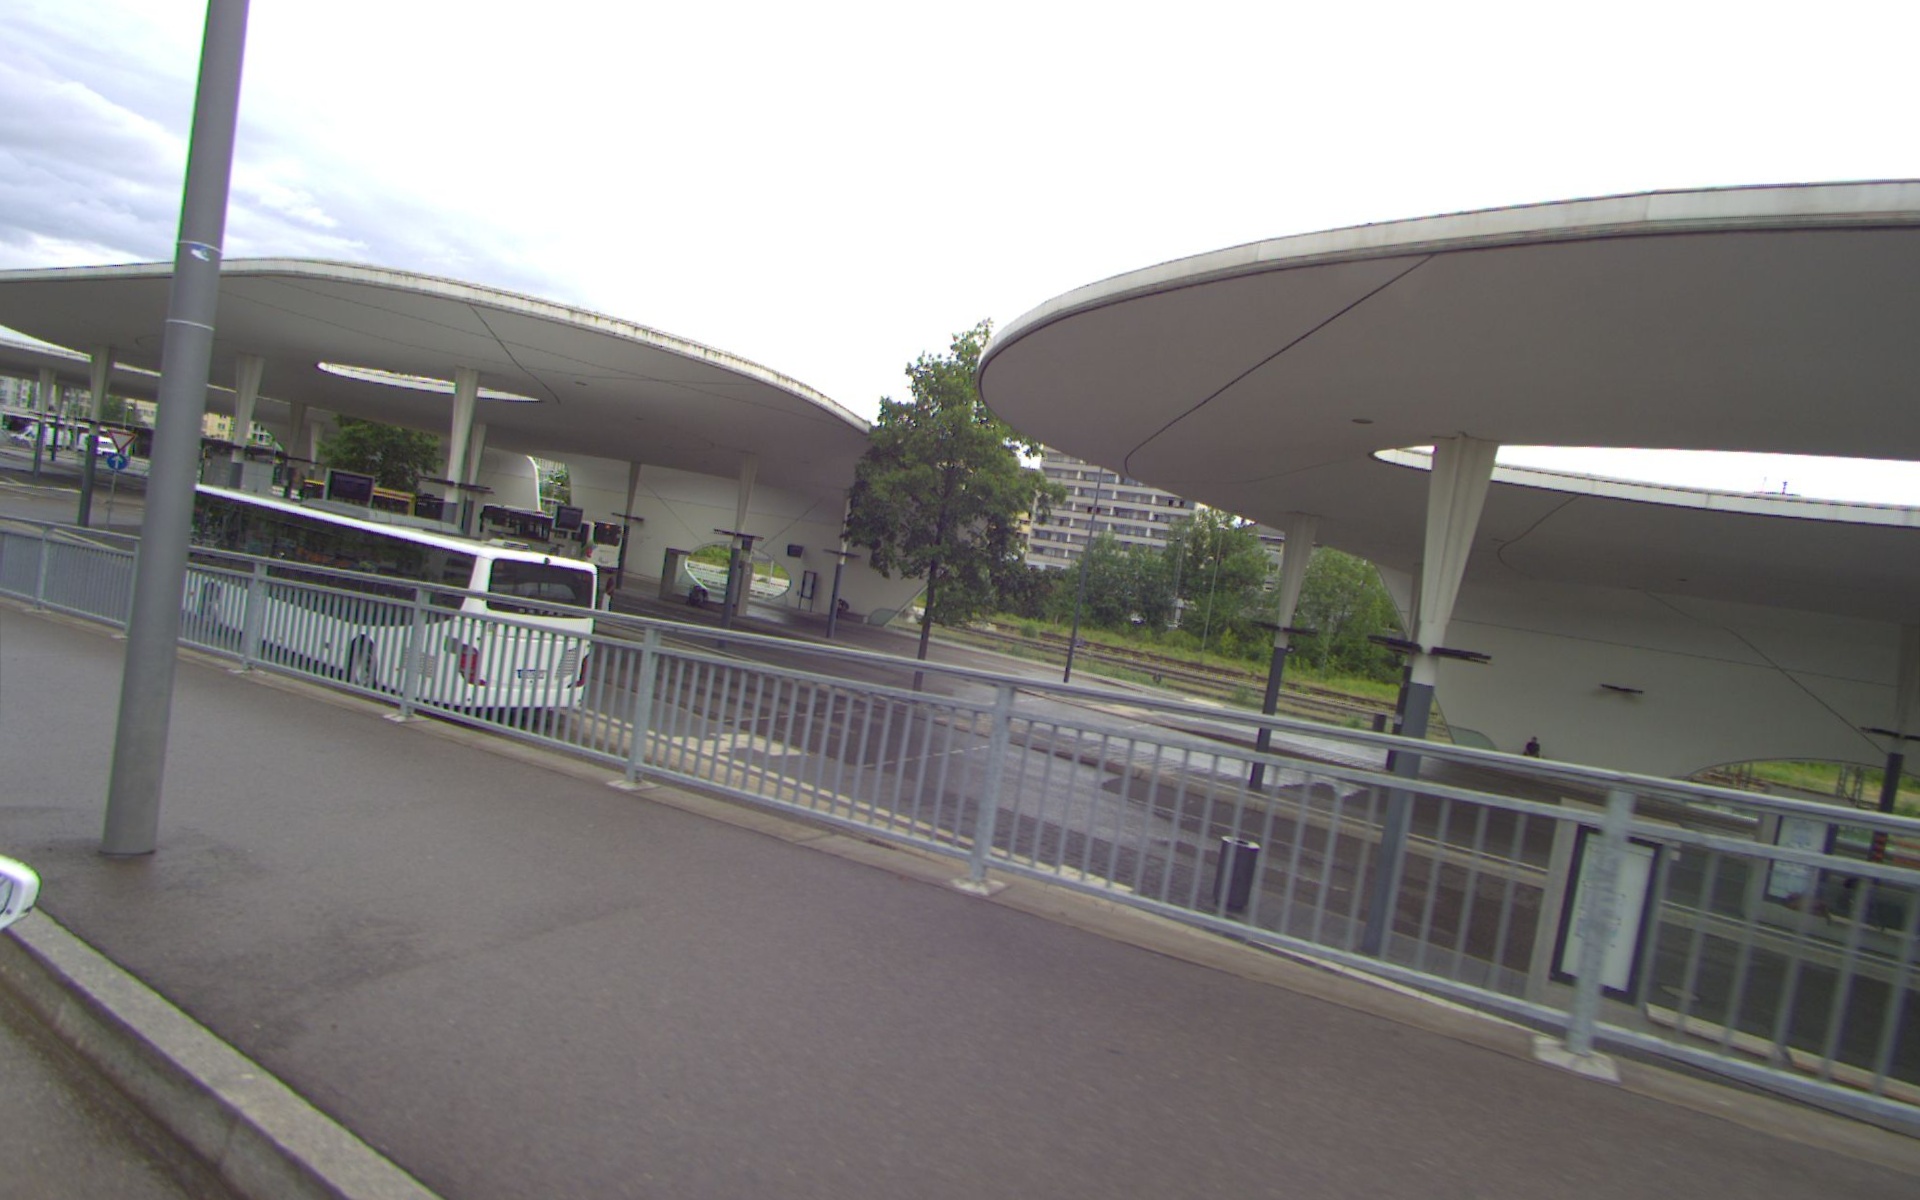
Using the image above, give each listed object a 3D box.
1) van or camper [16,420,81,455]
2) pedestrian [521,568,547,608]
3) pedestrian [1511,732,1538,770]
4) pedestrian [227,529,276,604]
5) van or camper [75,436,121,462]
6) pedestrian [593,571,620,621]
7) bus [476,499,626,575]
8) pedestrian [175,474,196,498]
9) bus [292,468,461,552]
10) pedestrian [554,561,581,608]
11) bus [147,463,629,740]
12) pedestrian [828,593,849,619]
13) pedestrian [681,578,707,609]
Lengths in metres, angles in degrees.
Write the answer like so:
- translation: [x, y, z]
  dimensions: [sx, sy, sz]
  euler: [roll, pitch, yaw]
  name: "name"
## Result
- translation: [-99.284, -17.682, 109.604]
  dimensions: [2.083, 2.588, 4.617]
  euler: [8, -1, 31]
  name: "van or camper"
- translation: [-16.032, -0.443, 37.847]
  dimensions: [0.548, 1.412, 0.568]
  euler: [11, 5, 37]
  name: "pedestrian"
- translation: [21.769, 5.826, 38.766]
  dimensions: [0.701, 1.340, 0.799]
  euler: [6, -2, 37]
  name: "pedestrian"
- translation: [-18.943, -0.892, 26.906]
  dimensions: [0.638, 1.910, 0.585]
  euler: [10, 3, -4]
  name: "pedestrian"
- translation: [-92.790, -16.278, 108.283]
  dimensions: [5.388, 2.128, 1.997]
  euler: [8, -1, 32]
  name: "van or camper"
- translation: [-12.839, -0.153, 36.516]
  dimensions: [0.629, 1.677, 0.641]
  euler: [7, 4, -8]
  name: "pedestrian"
- translation: [-26.901, -4.207, 65.788]
  dimensions: [11.770, 3.302, 2.466]
  euler: [11, 5, 32]
  name: "bus"
- translation: [-59.534, -8.746, 77.321]
  dimensions: [0.892, 1.606, 0.796]
  euler: [9, 1, 26]
  name: "pedestrian"
- translation: [-34.055, -5.298, 58.405]
  dimensions: [11.934, 3.300, 2.791]
  euler: [10, 3, 30]
  name: "bus"
- translation: [-14.799, -0.596, 37.925]
  dimensions: [0.548, 1.677, 0.568]
  euler: [11, 5, 37]
  name: "pedestrian"
- translation: [-12.339, -0.255, 20.851]
  dimensions: [12.217, 3.401, 2.851]
  euler: [11, 1, 32]
  name: "bus"
- translation: [-6.869, 0.362, 56.962]
  dimensions: [0.789, 1.340, 0.710]
  euler: [6, -2, 35]
  name: "pedestrian"
- translation: [-12.551, -0.295, 47.539]
  dimensions: [0.790, 1.340, 0.709]
  euler: [6, -2, 39]
  name: "pedestrian"
